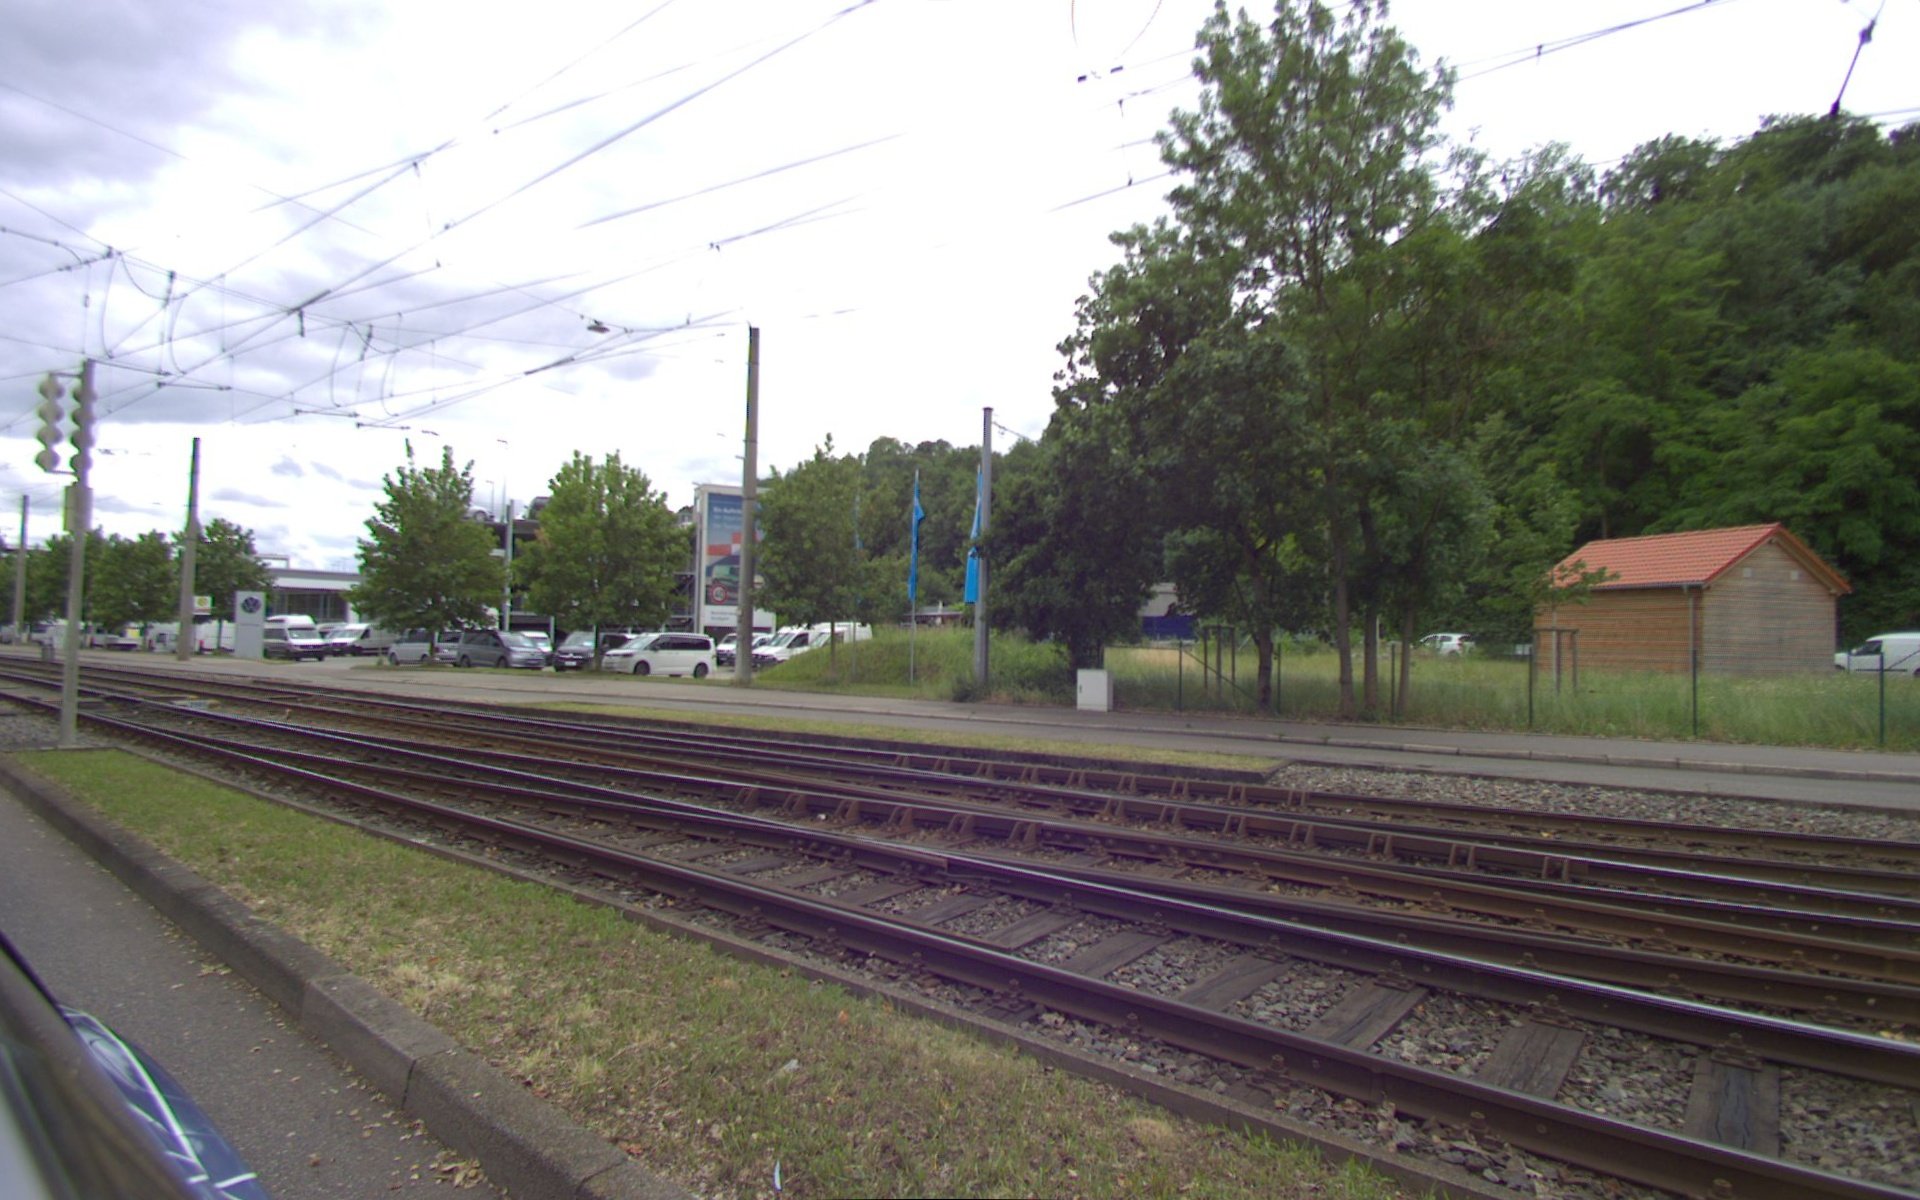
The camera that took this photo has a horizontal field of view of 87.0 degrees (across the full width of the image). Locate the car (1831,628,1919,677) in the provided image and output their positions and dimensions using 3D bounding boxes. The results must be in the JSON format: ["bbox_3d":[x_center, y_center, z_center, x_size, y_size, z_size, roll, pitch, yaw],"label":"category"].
[{"bbox_3d":[34.188,1.873,36.532,1.877,1.625,3.693,-1,0,-22],"label":"car"}]

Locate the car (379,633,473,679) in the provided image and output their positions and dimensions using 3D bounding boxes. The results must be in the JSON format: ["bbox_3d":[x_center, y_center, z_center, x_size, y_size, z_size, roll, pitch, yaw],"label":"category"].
[{"bbox_3d":[-27.045,2.780,51.204,4.761,2.132,2.119,-1,0,32],"label":"car"}]

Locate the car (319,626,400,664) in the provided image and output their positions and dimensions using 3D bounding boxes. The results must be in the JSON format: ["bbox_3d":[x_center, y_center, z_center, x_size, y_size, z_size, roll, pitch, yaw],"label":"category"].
[{"bbox_3d":[-46.472,3.437,78.521,2.293,2.642,6.036,-1,0,6],"label":"car"}]

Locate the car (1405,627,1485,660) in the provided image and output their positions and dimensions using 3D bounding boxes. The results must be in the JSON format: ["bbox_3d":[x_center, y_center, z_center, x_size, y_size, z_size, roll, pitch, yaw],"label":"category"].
[{"bbox_3d":[26.490,2.327,55.388,1.727,1.625,3.693,-1,0,-25],"label":"car"}]

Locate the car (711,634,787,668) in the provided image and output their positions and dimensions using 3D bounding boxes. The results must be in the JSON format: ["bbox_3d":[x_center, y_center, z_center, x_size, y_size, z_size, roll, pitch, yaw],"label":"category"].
[{"bbox_3d":[-12.977,3.098,62.218,4.165,1.850,1.986,-1,0,-31],"label":"car"}]

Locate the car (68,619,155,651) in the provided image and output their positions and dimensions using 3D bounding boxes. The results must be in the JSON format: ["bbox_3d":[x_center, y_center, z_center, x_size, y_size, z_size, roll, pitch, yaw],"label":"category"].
[{"bbox_3d":[-63.857,2.622,76.224,2.102,2.225,4.589,-1,0,32],"label":"car"}]

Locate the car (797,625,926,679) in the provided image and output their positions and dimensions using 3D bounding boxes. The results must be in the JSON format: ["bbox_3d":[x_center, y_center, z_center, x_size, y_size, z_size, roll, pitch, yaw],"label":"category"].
[{"bbox_3d":[-4.694,2.419,48.366,5.762,2.284,2.060,-1,0,-28],"label":"car"}]

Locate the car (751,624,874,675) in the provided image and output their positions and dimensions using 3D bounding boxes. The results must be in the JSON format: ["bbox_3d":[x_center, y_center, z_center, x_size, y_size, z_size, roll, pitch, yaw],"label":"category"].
[{"bbox_3d":[-7.421,2.455,51.028,5.751,2.284,2.060,-1,0,-28],"label":"car"}]

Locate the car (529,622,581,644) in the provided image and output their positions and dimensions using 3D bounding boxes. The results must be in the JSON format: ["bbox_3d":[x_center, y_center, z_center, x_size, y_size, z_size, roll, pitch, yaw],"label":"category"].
[{"bbox_3d":[-36.909,2.965,92.262,4.164,1.850,1.986,-1,0,-29],"label":"car"}]

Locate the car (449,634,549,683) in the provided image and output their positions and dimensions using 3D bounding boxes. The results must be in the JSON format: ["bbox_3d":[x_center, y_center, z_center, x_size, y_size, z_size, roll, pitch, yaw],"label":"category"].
[{"bbox_3d":[-21.776,2.709,47.800,4.763,2.132,2.118,-1,0,34],"label":"car"}]

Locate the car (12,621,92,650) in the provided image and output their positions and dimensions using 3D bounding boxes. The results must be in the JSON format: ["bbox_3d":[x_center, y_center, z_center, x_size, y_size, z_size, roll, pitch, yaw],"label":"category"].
[{"bbox_3d":[-75.568,2.946,84.268,2.102,2.225,4.589,-1,0,32],"label":"car"}]

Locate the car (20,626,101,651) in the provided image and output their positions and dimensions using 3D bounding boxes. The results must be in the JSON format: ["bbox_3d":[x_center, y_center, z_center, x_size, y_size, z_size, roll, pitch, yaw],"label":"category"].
[{"bbox_3d":[-73.596,3.107,82.870,2.102,1.854,4.589,-1,0,32],"label":"car"}]

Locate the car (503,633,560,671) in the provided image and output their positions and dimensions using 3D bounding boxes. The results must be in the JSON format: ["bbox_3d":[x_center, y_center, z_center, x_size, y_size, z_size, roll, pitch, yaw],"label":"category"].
[{"bbox_3d":[-24.511,2.933,57.813,1.872,1.907,4.606,-1,0,-38],"label":"car"}]

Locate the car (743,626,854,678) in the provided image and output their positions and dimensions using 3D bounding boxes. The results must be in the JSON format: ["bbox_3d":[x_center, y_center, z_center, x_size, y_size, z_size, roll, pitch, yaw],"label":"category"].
[{"bbox_3d":[-8.634,2.723,54.297,5.568,2.479,1.986,-1,0,-31],"label":"car"}]

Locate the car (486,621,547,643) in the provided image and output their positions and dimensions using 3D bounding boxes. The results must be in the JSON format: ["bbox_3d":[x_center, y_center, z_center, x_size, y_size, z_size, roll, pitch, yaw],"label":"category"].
[{"bbox_3d":[-41.809,2.978,95.381,5.138,1.850,1.986,-1,0,-29],"label":"car"}]

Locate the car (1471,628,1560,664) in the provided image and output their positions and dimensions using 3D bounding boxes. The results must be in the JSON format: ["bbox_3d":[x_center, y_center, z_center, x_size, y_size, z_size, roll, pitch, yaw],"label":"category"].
[{"bbox_3d":[28.185,2.306,51.434,1.727,1.625,3.693,-1,0,-22],"label":"car"}]

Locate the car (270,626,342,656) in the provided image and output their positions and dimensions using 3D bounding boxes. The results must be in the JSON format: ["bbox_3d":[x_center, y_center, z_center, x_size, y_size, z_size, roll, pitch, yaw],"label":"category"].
[{"bbox_3d":[-53.658,3.321,83.123,2.107,2.225,4.579,-1,0,39],"label":"car"}]

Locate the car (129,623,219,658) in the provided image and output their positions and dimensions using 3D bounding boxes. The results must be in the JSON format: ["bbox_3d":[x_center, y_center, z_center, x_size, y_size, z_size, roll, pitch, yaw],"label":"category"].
[{"bbox_3d":[-54.945,2.778,70.811,2.102,2.225,4.589,-1,0,32],"label":"car"}]

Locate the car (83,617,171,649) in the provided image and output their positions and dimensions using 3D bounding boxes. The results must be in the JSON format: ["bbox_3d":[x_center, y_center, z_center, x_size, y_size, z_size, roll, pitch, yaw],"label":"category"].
[{"bbox_3d":[-61.479,2.393,74.740,2.102,2.225,4.589,-1,0,32],"label":"car"}]

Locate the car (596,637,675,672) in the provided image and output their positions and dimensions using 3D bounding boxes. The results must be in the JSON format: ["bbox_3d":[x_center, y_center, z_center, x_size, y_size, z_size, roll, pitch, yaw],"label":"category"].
[{"bbox_3d":[-19.422,3.212,60.617,4.165,1.850,1.986,-1,0,-31],"label":"car"}]

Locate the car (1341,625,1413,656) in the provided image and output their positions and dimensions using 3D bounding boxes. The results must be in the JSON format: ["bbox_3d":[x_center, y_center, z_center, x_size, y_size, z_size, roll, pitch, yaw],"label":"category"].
[{"bbox_3d":[24.478,2.353,59.460,1.727,1.625,3.693,-1,0,-25],"label":"car"}]

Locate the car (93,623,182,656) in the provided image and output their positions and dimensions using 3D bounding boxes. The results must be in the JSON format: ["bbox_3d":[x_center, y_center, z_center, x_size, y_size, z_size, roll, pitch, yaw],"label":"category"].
[{"bbox_3d":[-59.497,2.819,73.291,2.102,2.225,4.589,-1,0,32],"label":"car"}]

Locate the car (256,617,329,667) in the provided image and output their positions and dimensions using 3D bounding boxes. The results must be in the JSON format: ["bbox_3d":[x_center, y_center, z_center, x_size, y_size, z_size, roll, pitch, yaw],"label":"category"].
[{"bbox_3d":[-43.176,2.662,65.413,6.154,3.034,2.291,-1,0,40],"label":"car"}]

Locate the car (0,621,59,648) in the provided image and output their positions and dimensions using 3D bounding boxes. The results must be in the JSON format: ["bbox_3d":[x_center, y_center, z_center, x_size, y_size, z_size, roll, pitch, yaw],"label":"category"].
[{"bbox_3d":[-83.597,3.050,90.141,2.102,2.225,4.589,-1,0,32],"label":"car"}]

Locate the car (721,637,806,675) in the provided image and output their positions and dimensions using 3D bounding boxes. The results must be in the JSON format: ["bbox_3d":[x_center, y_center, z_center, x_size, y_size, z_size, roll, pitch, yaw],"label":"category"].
[{"bbox_3d":[-10.913,3.067,56.257,4.165,1.850,1.986,-1,0,-31],"label":"car"}]

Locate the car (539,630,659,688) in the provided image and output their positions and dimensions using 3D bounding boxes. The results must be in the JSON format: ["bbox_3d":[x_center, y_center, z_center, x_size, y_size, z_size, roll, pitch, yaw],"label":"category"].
[{"bbox_3d":[-15.990,2.540,45.049,1.977,2.284,4.717,-1,0,37],"label":"car"}]

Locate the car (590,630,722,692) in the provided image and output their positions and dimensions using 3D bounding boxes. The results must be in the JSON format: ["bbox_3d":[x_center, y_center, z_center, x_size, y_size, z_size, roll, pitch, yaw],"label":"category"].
[{"bbox_3d":[-12.840,2.527,43.102,1.997,2.284,5.206,-1,0,37],"label":"car"}]

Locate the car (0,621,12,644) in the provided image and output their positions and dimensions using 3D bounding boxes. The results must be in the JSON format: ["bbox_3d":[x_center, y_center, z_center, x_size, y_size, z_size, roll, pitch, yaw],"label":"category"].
[{"bbox_3d":[-94.076,3.186,96.855,2.102,2.225,4.589,-1,0,32],"label":"car"}]

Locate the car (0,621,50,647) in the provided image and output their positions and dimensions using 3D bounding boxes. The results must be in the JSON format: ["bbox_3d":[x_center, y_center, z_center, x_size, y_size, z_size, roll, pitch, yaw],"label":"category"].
[{"bbox_3d":[-85.620,3.076,91.516,2.102,2.225,4.589,-1,0,32],"label":"car"}]
